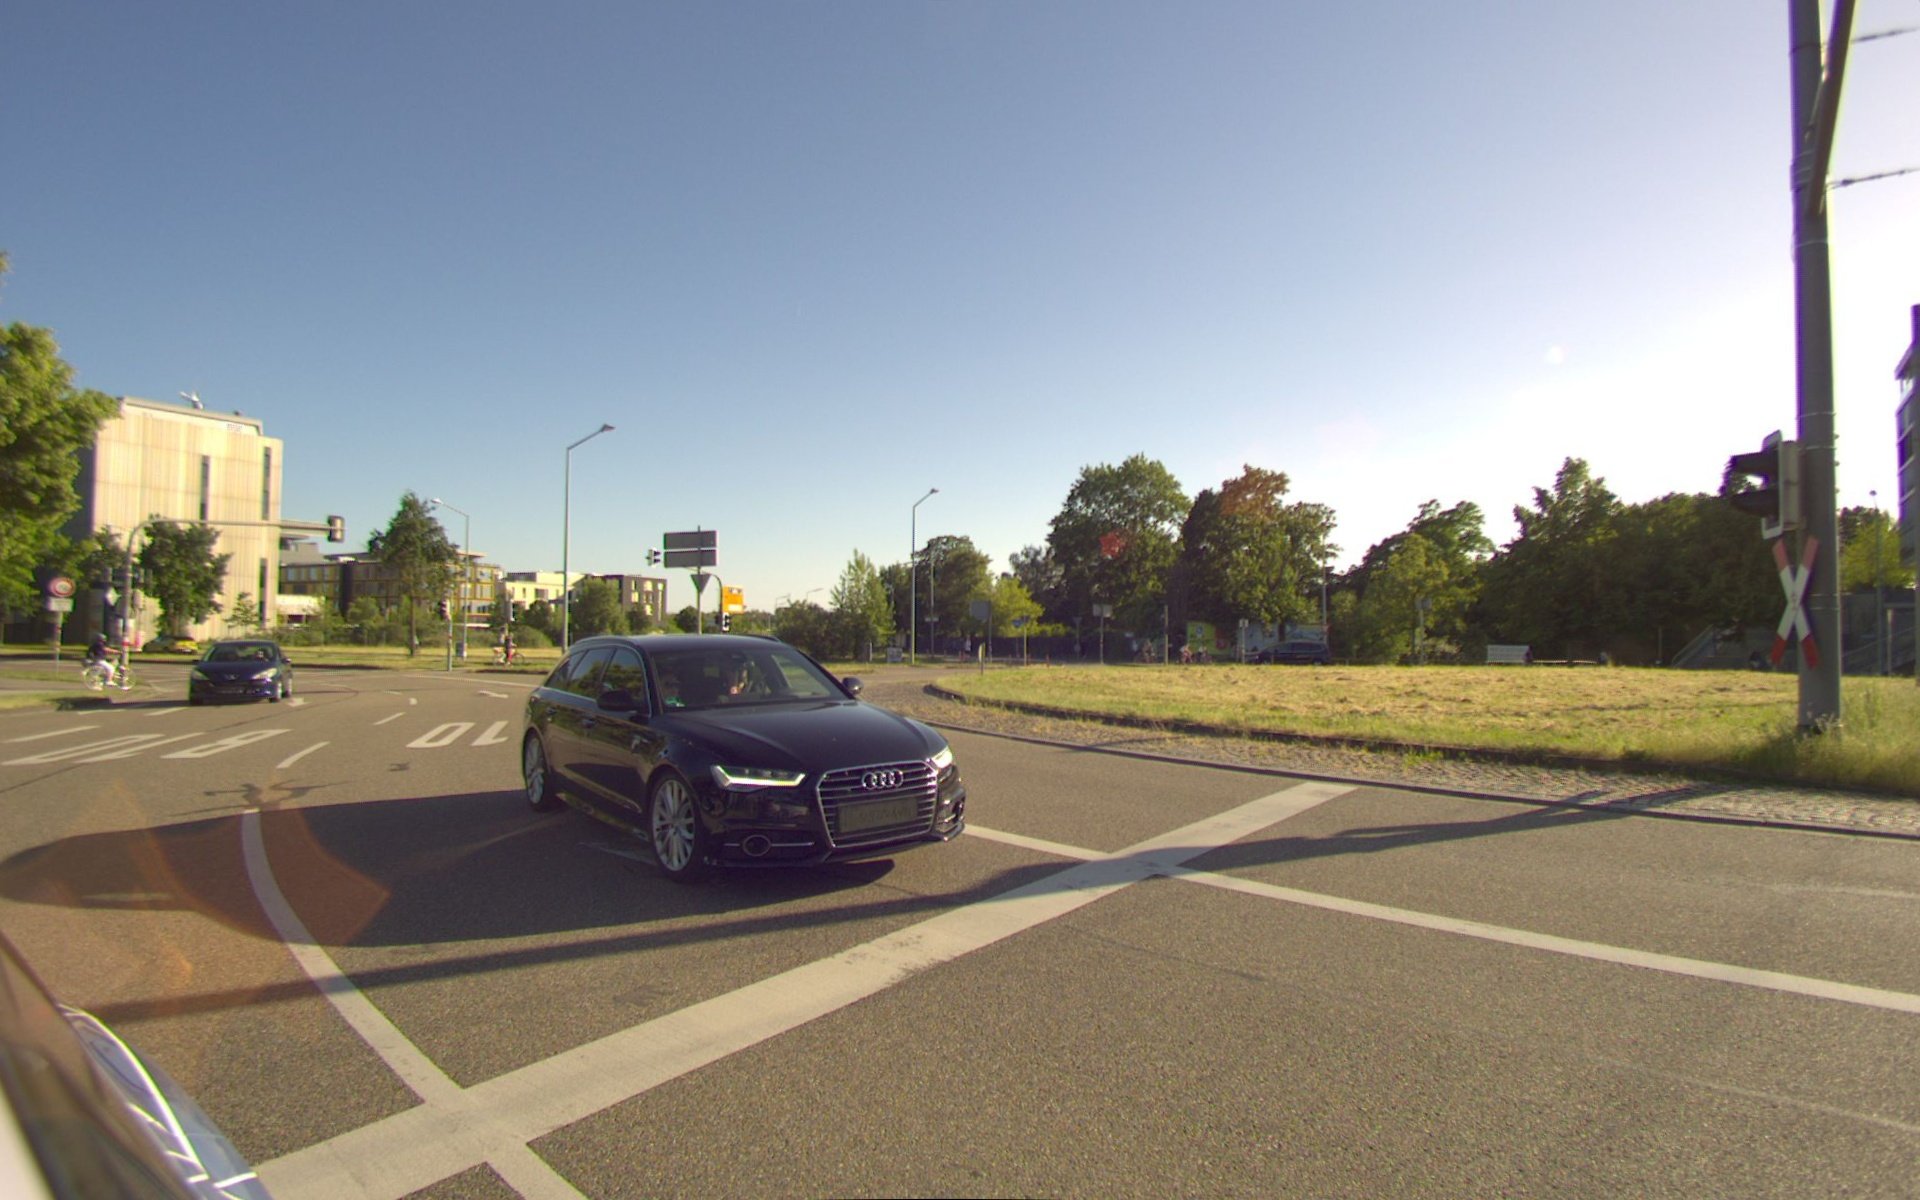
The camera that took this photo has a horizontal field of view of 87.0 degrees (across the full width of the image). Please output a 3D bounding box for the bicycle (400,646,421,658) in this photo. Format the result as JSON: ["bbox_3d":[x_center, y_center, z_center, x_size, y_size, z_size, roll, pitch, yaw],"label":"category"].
[{"bbox_3d":[-41.287,3.922,76.034,1.882,0.859,0.486,-2,-3,31],"label":"bicycle"}]

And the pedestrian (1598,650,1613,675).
[{"bbox_3d":[42.965,4.147,67.366,0.757,1.642,0.877,-1,-3,27],"label":"pedestrian"}]

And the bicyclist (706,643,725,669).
[{"bbox_3d":[-14.525,3.326,60.068,0.615,1.529,0.915,-2,-3,32],"label":"bicyclist"}]

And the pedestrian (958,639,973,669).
[{"bbox_3d":[0.370,3.721,69.600,0.929,2.021,0.590,0,-3,-9],"label":"pedestrian"}]

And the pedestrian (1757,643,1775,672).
[{"bbox_3d":[57.211,4.094,71.854,0.629,2.029,0.836,2,-3,-34],"label":"pedestrian"}]

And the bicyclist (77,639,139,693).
[{"bbox_3d":[-25.833,1.991,30.707,0.865,1.574,1.086,1,-3,3],"label":"bicyclist"}]

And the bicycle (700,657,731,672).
[{"bbox_3d":[-14.501,3.796,60.092,0.615,0.859,1.868,-2,-3,32],"label":"bicycle"}]

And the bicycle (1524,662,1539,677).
[{"bbox_3d":[40.355,4.884,71.488,0.586,1.019,1.845,-1,-3,41],"label":"bicycle"}]

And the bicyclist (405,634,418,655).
[{"bbox_3d":[-41.193,3.318,76.003,0.848,1.576,0.428,-2,-3,31],"label":"bicyclist"}]

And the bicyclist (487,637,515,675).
[{"bbox_3d":[-21.063,2.563,46.493,0.698,1.676,0.937,0,-2,17],"label":"bicyclist"}]

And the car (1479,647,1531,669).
[{"bbox_3d":[45.418,4.805,84.418,3.728,1.819,1.820,-2,-3,30],"label":"car"}]

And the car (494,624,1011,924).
[{"bbox_3d":[-1.912,0.974,7.493,1.769,1.454,5.028,1,-3,-37],"label":"car"}]

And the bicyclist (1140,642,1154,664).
[{"bbox_3d":[13.550,3.867,73.325,0.822,1.592,0.663,0,-3,-7],"label":"bicyclist"}]

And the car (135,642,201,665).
[{"bbox_3d":[-54.811,3.703,70.049,4.304,1.553,1.990,-1,-3,28],"label":"car"}]

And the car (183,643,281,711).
[{"bbox_3d":[-17.470,1.805,24.442,1.729,1.465,4.011,0,-3,-33],"label":"car"}]

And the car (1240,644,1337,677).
[{"bbox_3d":[18.511,3.390,57.295,4.965,1.799,2.451,0,-2,14],"label":"car"}]

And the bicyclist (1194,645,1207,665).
[{"bbox_3d":[16.785,3.845,70.669,0.707,1.403,0.618,0,-3,-9],"label":"bicyclist"}]

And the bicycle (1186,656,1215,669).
[{"bbox_3d":[16.811,4.342,70.640,1.859,0.859,0.618,0,-3,-9],"label":"bicycle"}]

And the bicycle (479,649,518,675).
[{"bbox_3d":[-21.113,2.829,46.291,0.698,1.137,1.646,0,-2,17],"label":"bicycle"}]

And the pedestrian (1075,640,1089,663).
[{"bbox_3d":[11.018,4.650,91.387,0.886,2.029,0.821,2,-2,-21],"label":"pedestrian"}]

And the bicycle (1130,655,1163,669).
[{"bbox_3d":[13.526,4.520,73.317,2.227,0.995,0.663,0,-3,-7],"label":"bicycle"}]

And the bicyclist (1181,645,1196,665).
[{"bbox_3d":[16.145,3.846,71.442,0.824,1.403,0.618,0,-3,-9],"label":"bicyclist"}]

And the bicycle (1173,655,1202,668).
[{"bbox_3d":[16.031,4.342,71.411,1.859,0.859,0.618,0,-3,-9],"label":"bicycle"}]

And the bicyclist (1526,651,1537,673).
[{"bbox_3d":[40.371,4.370,71.500,0.586,1.479,0.746,-1,-3,41],"label":"bicyclist"}]

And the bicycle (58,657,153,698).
[{"bbox_3d":[-25.836,2.322,30.666,0.865,1.164,2.214,1,-3,3],"label":"bicycle"}]
